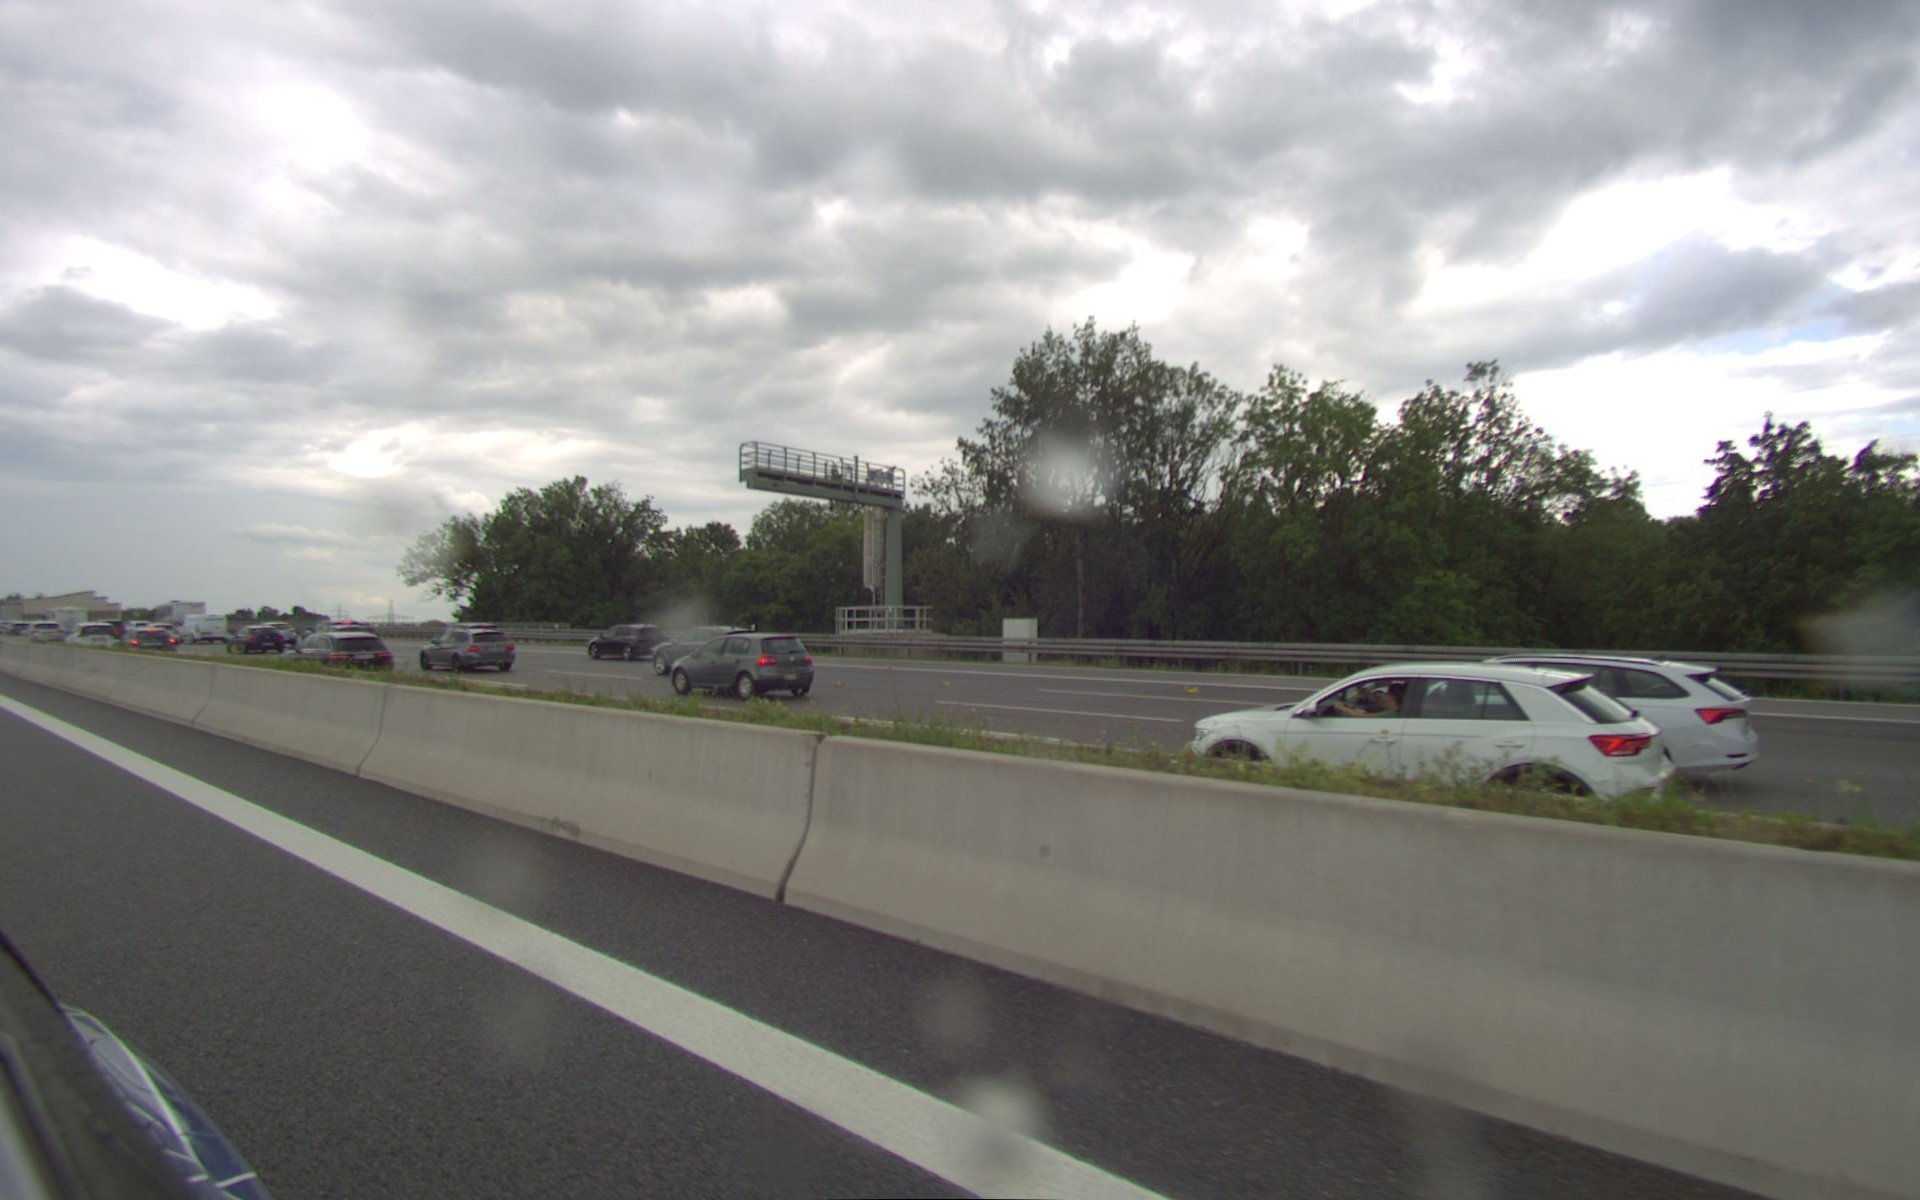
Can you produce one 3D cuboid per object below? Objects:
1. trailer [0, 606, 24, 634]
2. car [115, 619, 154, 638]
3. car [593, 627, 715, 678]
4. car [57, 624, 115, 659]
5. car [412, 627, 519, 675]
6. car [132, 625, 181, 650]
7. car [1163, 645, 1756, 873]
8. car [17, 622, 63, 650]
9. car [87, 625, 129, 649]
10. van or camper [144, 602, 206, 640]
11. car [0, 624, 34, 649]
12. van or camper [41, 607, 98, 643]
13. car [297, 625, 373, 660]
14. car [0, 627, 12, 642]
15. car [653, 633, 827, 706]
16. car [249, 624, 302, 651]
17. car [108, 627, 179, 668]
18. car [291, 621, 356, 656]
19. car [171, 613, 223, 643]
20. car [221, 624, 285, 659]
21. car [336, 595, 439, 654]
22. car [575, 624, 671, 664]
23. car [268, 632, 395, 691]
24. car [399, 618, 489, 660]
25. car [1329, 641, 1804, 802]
[{"bbox_3d":[-143.812,3.029,151.972,14.439,4.062,2.902,-2,-1,40],"label":"trailer"},{"bbox_3d":[-67.657,2.343,82.942,5.017,1.467,1.705,-1,0,42],"label":"car"},{"bbox_3d":[-9.985,1.641,32.845,4.518,1.439,1.705,-1,0,42],"label":"car"},{"bbox_3d":[-46.678,2.180,54.022,4.996,1.658,1.705,-1,0,42],"label":"car"},{"bbox_3d":[-16.984,1.708,34.689,4.518,1.439,1.705,-1,0,42],"label":"car"},{"bbox_3d":[-51.424,2.362,64.770,4.518,1.426,1.705,-1,0,42],"label":"car"},{"bbox_3d":[4.365,1.228,9.360,4.646,1.439,1.705,-1,0,41],"label":"car"},{"bbox_3d":[-60.813,2.352,66.863,5.060,1.658,1.705,-1,0,42],"label":"car"},{"bbox_3d":[-62.659,2.711,74.415,4.518,1.658,1.705,-1,0,42],"label":"car"},{"bbox_3d":[-68.939,1.777,88.798,8.471,3.146,2.598,-1,0,40],"label":"van or camper"},{"bbox_3d":[-68.980,2.605,73.734,5.060,1.658,1.705,-1,0,42],"label":"car"},{"bbox_3d":[-76.340,2.099,86.713,7.354,2.973,2.598,-1,0,40],"label":"van or camper"},{"bbox_3d":[-27.304,1.801,44.173,4.200,1.429,1.705,-1,-2,42],"label":"car"},{"bbox_3d":[-103.098,3.646,108.232,4.515,1.546,2.039,-1,-1,40],"label":"car"},{"bbox_3d":[-5.295,1.569,24.009,4.518,1.439,1.705,-1,0,42],"label":"car"},{"bbox_3d":[-40.980,2.231,60.534,3.959,1.489,1.705,-1,0,42],"label":"car"},{"bbox_3d":[-36.833,2.083,45.609,4.991,1.658,1.705,-1,0,42],"label":"car"},{"bbox_3d":[-33.165,1.962,52.686,4.518,1.658,1.705,-1,0,42],"label":"car"},{"bbox_3d":[-52.519,1.900,69.626,5.544,1.950,1.671,-1,0,40],"label":"car"},{"bbox_3d":[-36.552,2.086,52.265,4.518,1.658,1.705,-1,0,42],"label":"car"},{"bbox_3d":[-33.837,1.390,59.683,7.933,3.264,2.701,-1,0,40],"label":"car"},{"bbox_3d":[-13.767,1.753,41.224,4.518,1.439,1.705,-1,0,42],"label":"car"},{"bbox_3d":[-18.270,1.722,29.307,5.229,1.439,1.705,-1,0,42],"label":"car"},{"bbox_3d":[-22.353,1.622,43.740,5.234,1.658,1.705,-1,0,42],"label":"car"},{"bbox_3d":[7.323,1.335,12.607,4.847,1.481,1.705,-1,0,42],"label":"car"}]
